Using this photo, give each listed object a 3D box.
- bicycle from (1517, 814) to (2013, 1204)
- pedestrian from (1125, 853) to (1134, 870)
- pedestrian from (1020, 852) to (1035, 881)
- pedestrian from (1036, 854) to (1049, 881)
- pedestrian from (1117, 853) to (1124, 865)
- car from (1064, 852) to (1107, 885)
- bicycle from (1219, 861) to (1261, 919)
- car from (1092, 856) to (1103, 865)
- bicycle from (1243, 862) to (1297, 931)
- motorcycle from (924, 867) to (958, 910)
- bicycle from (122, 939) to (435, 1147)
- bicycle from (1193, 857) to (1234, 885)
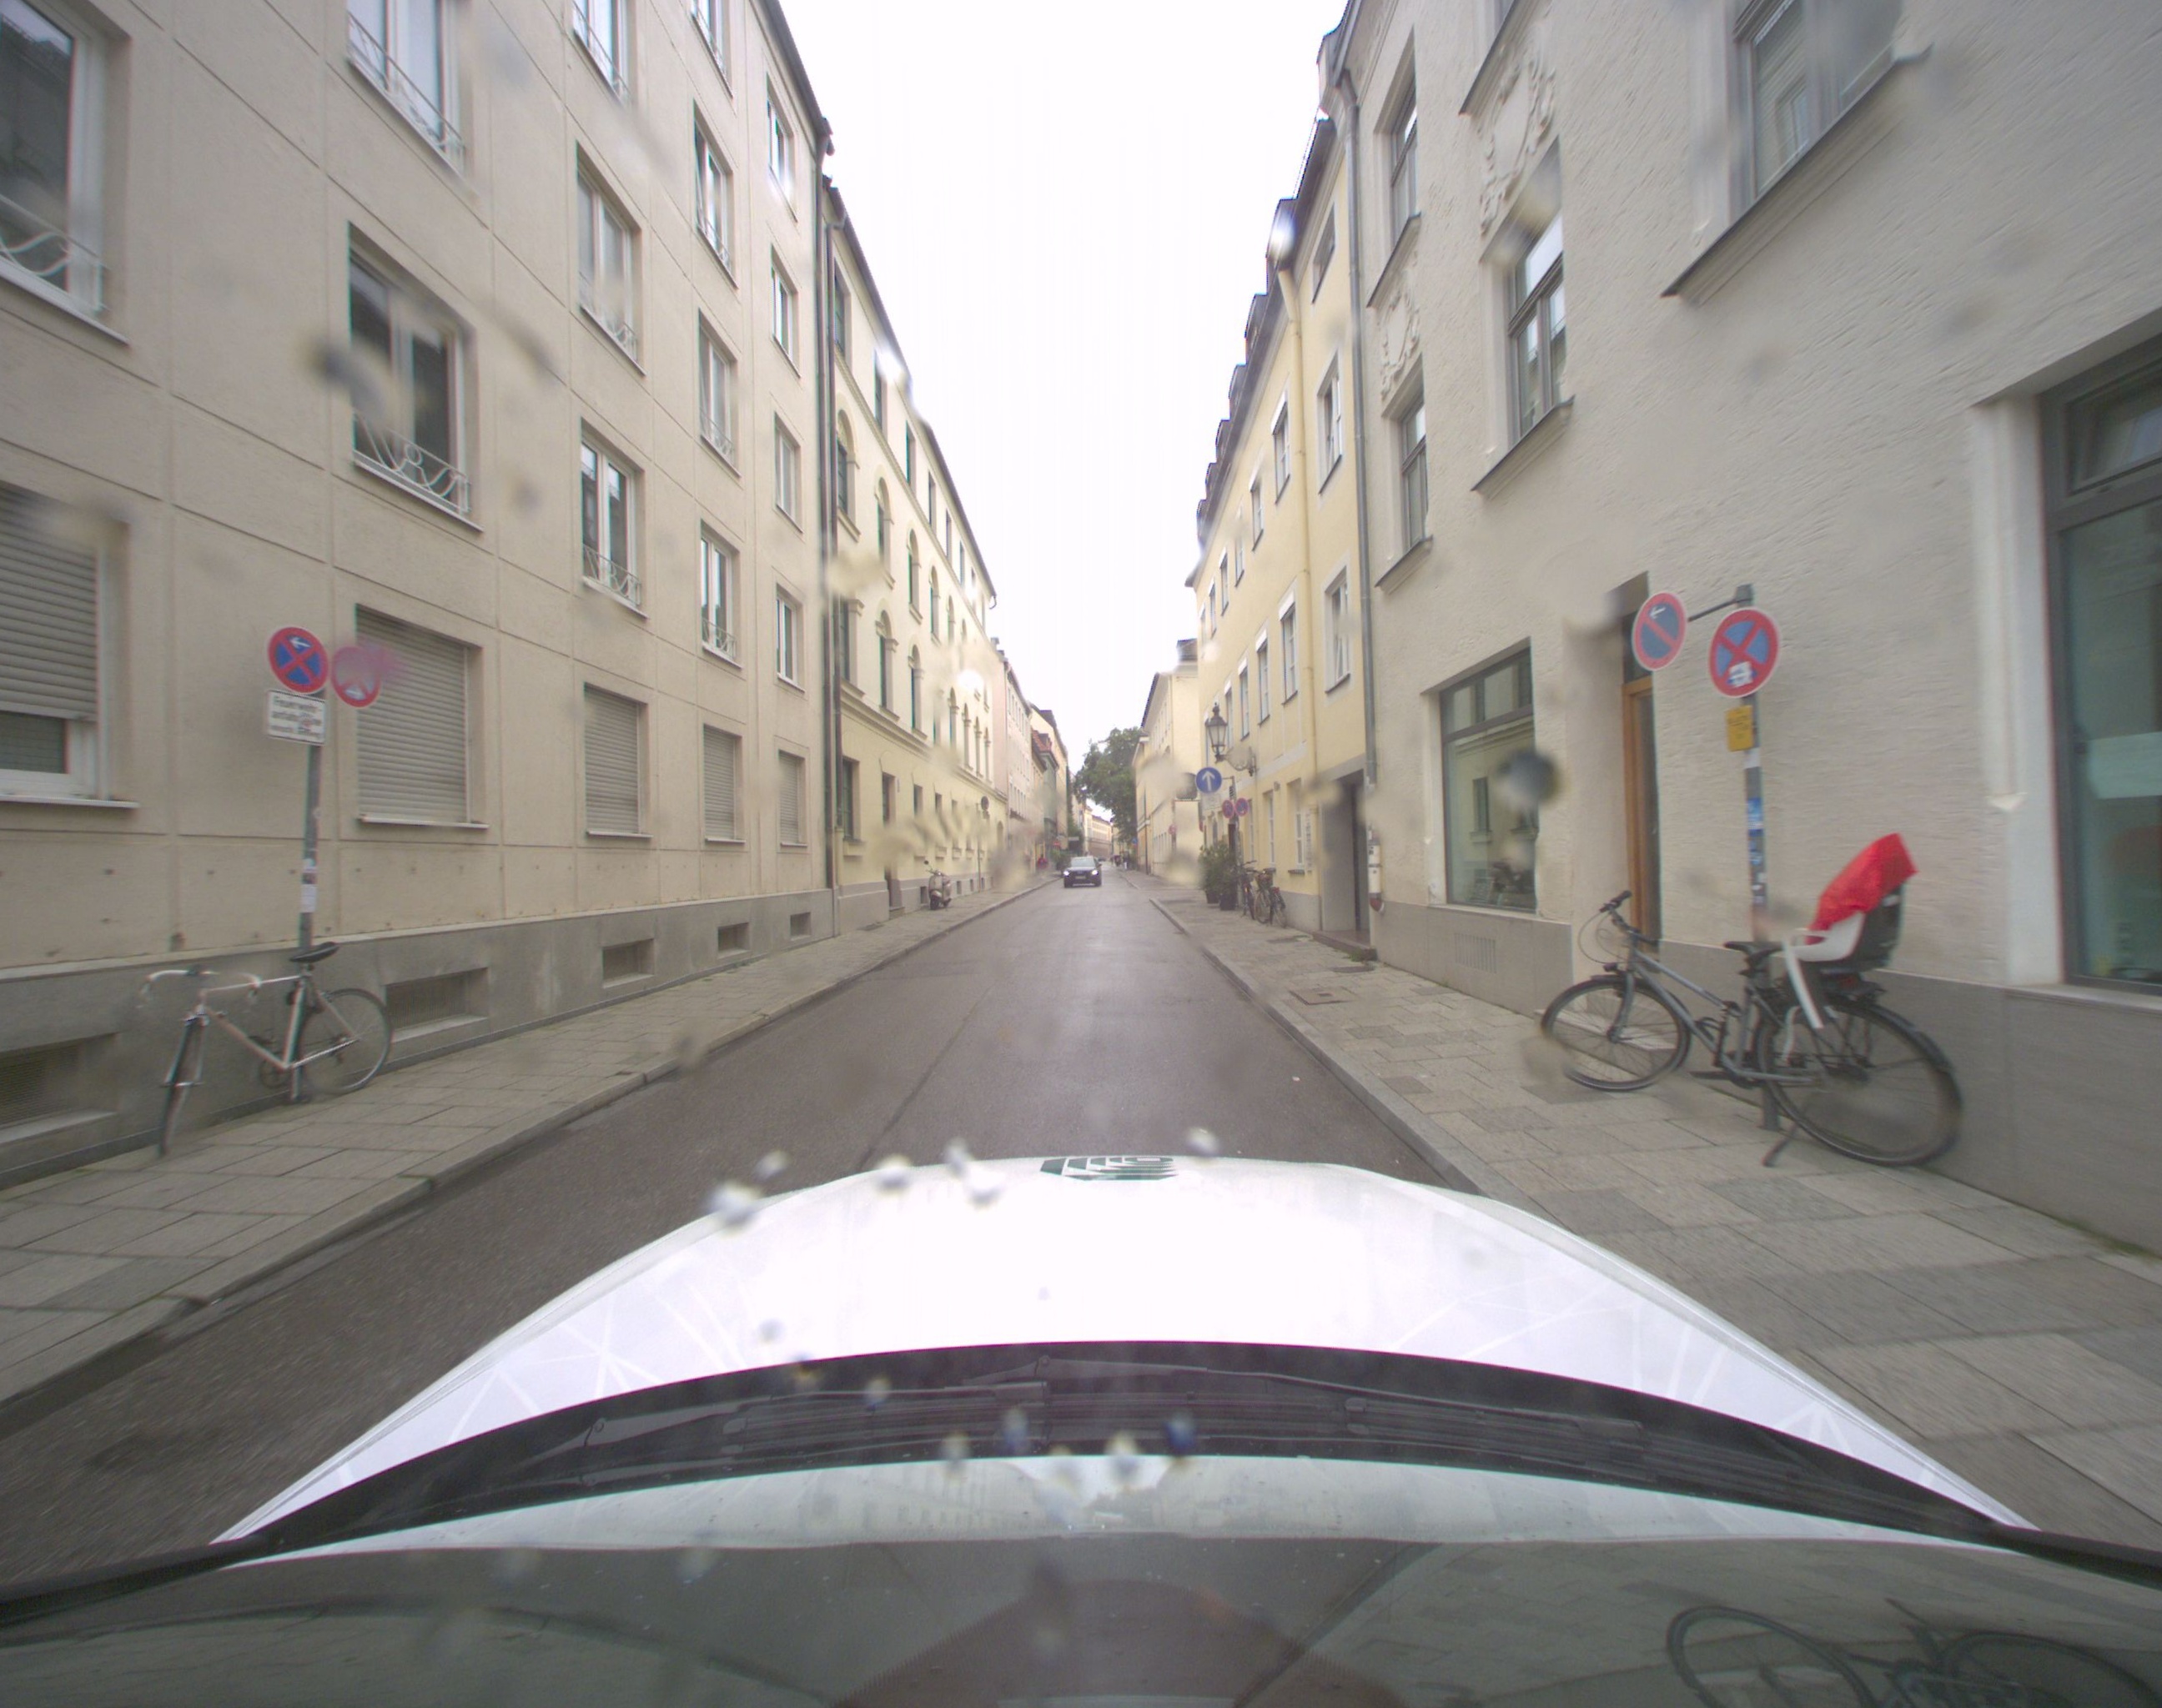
[{"bbox_3d":[3.081,0.571,4.060,0.710,1.396,2.124,-4,0,4],"label":"bicycle"},{"bbox_3d":[5.247,0.828,88.062,0.877,1.802,1.047,-1,0,2],"label":"pedestrian"},{"bbox_3d":[-3.225,0.746,49.403,0.807,1.755,0.990,-1,1,-1],"label":"pedestrian"},{"bbox_3d":[-2.475,0.870,52.590,0.763,1.708,0.785,-2,0,-1],"label":"pedestrian"},{"bbox_3d":[5.949,0.814,122.576,1.011,1.802,1.350,-1,0,2],"label":"pedestrian"},{"bbox_3d":[0.277,0.725,42.197,1.803,1.594,4.006,-2,0,6],"label":"car"},{"bbox_3d":[3.376,0.738,17.367,0.563,1.137,1.685,-4,0,3],"label":"bicycle"},{"bbox_3d":[2.771,1.094,136.391,1.771,1.466,3.546,-1,0,4],"label":"car"},{"bbox_3d":[3.476,0.749,15.144,0.563,1.137,1.989,-4,0,3],"label":"bicycle"},{"bbox_3d":[-4.007,0.969,23.467,0.600,1.174,1.709,-1,0,2],"label":"motorcycle"},{"bbox_3d":[-4.917,1.091,5.143,0.318,0.944,1.575,1,0,3],"label":"bicycle"},{"bbox_3d":[5.999,0.764,37.039,1.751,1.144,0.586,-2,2,1],"label":"bicycle"}]
